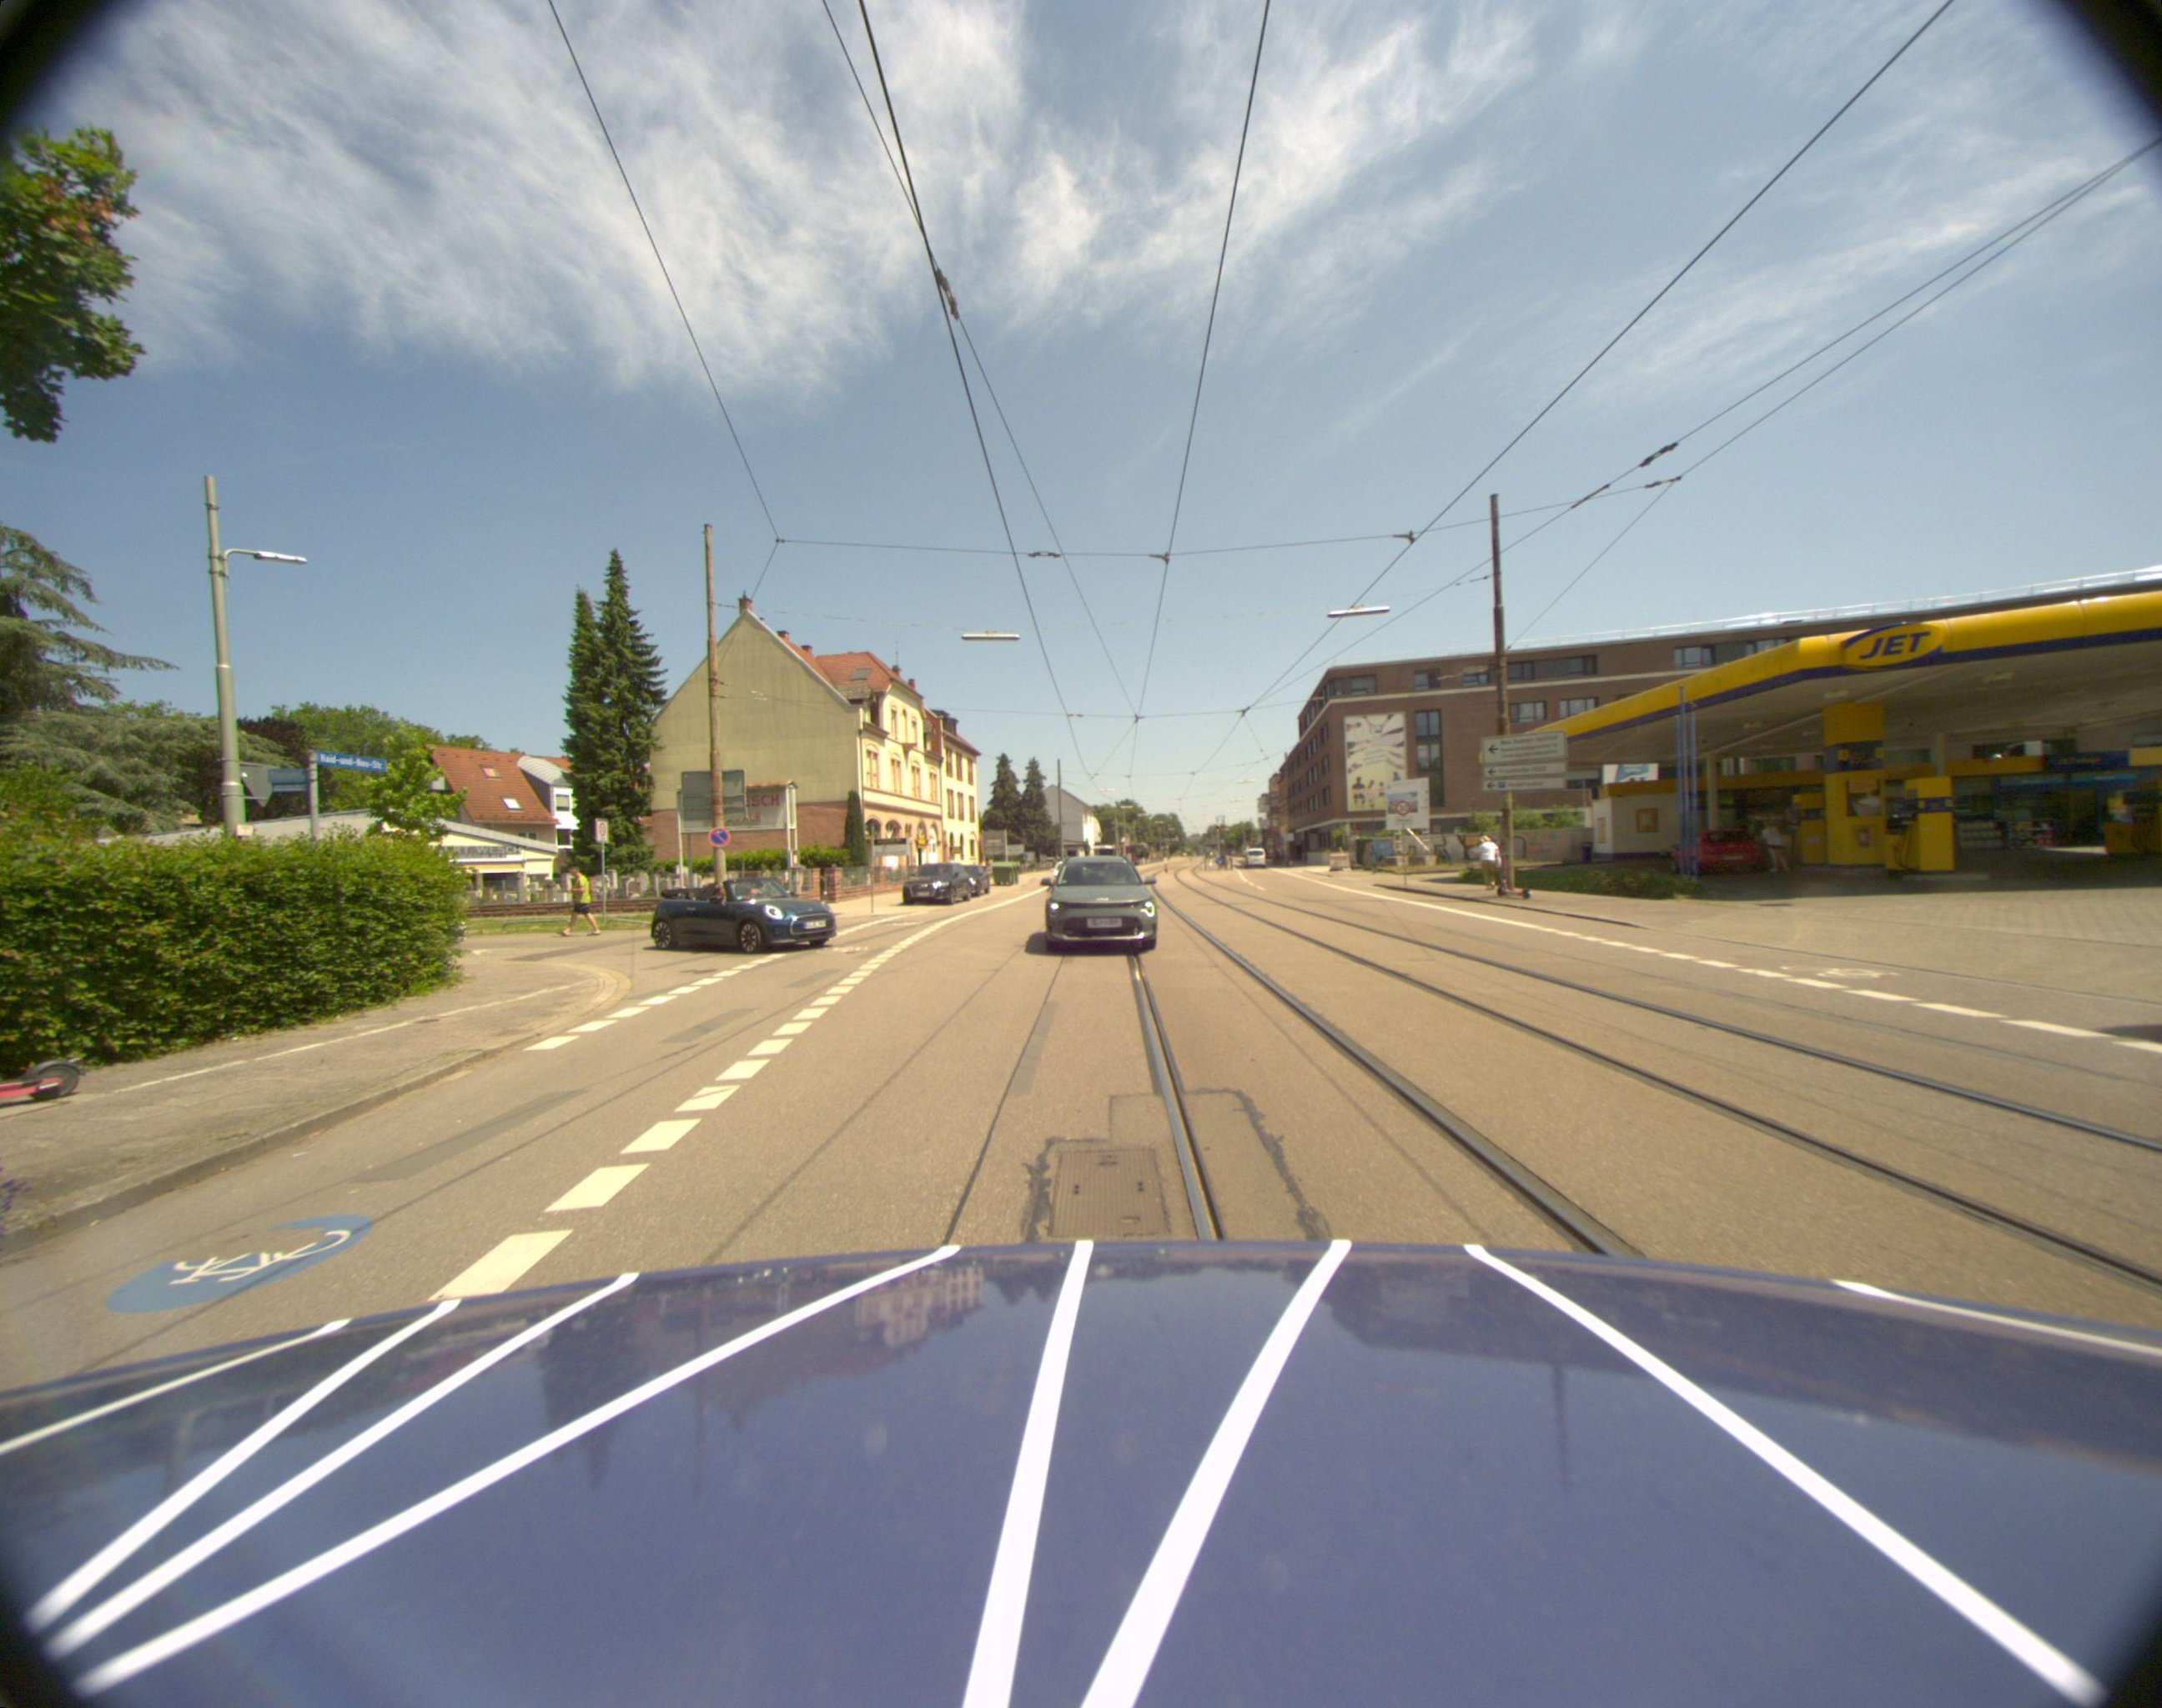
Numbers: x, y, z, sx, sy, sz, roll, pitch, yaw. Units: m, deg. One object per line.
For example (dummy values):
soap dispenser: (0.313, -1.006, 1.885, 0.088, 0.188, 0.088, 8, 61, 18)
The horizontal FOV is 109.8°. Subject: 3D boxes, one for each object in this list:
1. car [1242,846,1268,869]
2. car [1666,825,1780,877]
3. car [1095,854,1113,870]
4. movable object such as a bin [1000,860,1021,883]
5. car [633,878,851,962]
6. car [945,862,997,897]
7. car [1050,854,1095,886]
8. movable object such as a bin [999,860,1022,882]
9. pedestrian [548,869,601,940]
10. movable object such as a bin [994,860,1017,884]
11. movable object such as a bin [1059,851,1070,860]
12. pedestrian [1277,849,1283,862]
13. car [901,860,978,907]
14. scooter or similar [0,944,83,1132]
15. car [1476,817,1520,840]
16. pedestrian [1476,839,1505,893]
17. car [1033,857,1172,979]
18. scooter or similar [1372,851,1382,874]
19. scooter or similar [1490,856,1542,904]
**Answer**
car: (15.882, 0.277, 69.356, 1.997, 1.789, 4.555, -4, 1, 10)
car: (21.186, -0.087, 25.279, 1.827, 1.495, 4.206, -4, -2, 25)
car: (2.607, 0.869, 85.444, 1.748, 1.546, 4.488, -4, 0, 4)
movable object such as a bin: (-4.484, 1.083, 48.333, 1.250, 1.446, 1.057, 0, 1, -1)
car: (-6.605, 1.224, 14.761, 3.917, 1.364, 1.706, -2, 1, 26)
car: (-5.431, 1.242, 38.012, 1.776, 1.539, 4.467, -1, 1, 3)
car: (-0.397, 0.872, 42.356, 1.748, 1.546, 4.490, -4, 0, 8)
movable object such as a bin: (-4.575, 1.101, 49.442, 1.395, 1.446, 1.139, 0, 1, -1)
pedestrian: (-12.339, 1.212, 18.531, 0.840, 1.657, 0.733, -3, 0, -18)
movable object such as a bin: (-4.704, 1.124, 47.261, 1.327, 1.446, 1.057, 0, 1, -1)
movable object such as a bin: (-2.571, 0.225, 118.241, 1.389, 1.472, 1.152, -2, 0, 11)
pedestrian: (25.986, 0.187, 99.142, 0.604, 1.586, 0.715, -2, 1, 8)
car: (-5.753, 1.156, 31.584, 1.928, 1.683, 5.083, -1, 0, 3)
scooter or similar: (-7.516, 1.269, 4.933, 0.326, 1.215, 1.153, -4, 0, 23)
car: (30.021, -1.825, 54.831, 1.734, 1.460, 4.004, -3, 0, 14)
pedestrian: (13.010, 0.365, 24.143, 0.626, 1.681, 0.723, -2, 1, 16)
car: (0.326, 0.885, 12.676, 1.827, 1.546, 4.487, -3, 0, 1)
scooter or similar: (17.147, 0.480, 43.964, 0.345, 1.257, 1.244, -4, 0, 27)
scooter or similar: (11.488, 0.655, 20.107, 0.520, 1.193, 1.376, -4, 0, 0)
